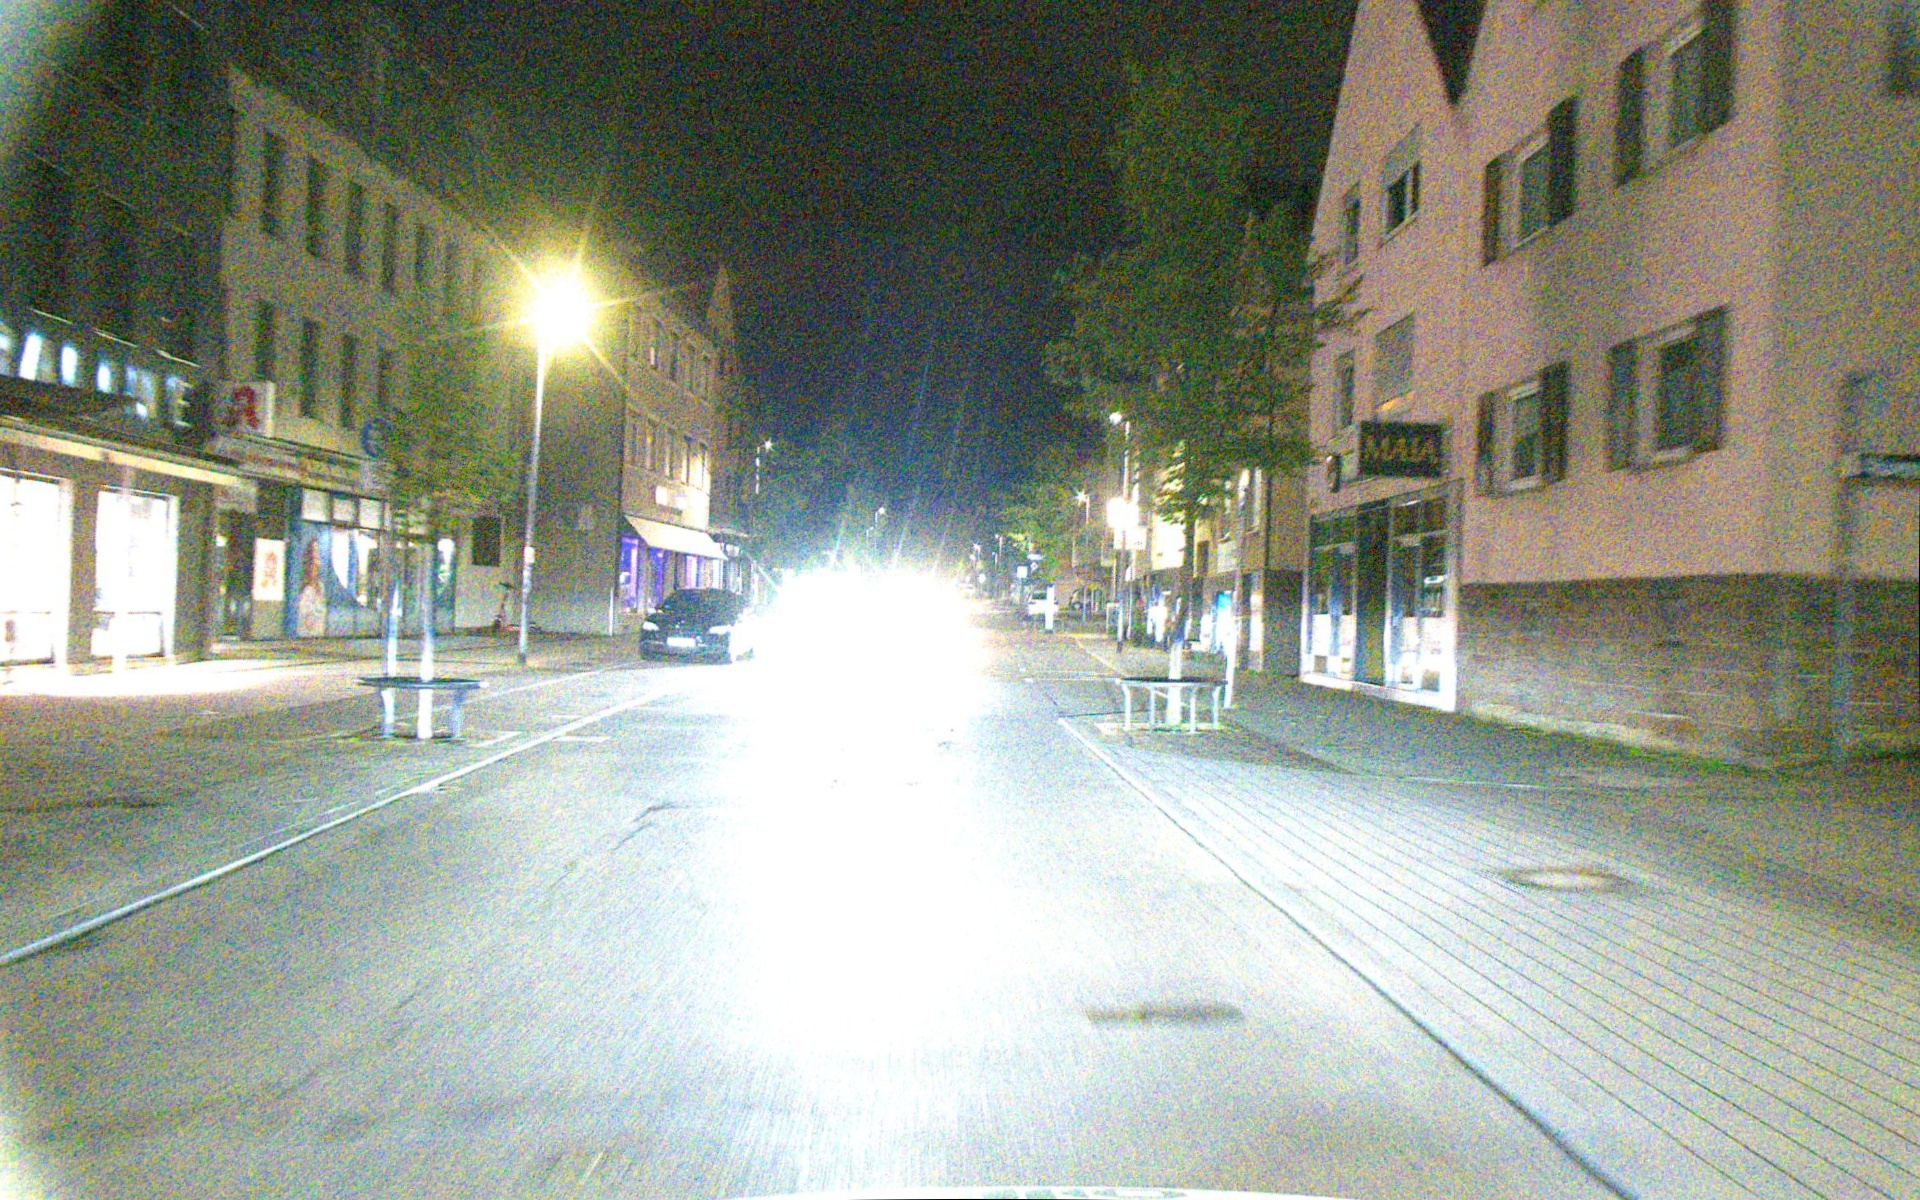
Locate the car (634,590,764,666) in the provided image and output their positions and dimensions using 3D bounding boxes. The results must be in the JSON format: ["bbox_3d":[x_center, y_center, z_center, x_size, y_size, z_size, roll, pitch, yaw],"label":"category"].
[{"bbox_3d":[-5.279,0.524,33.995,1.875,1.394,4.457,1,0,1],"label":"car"}]

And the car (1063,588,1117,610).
[{"bbox_3d":[9.546,-0.086,121.132,3.903,1.441,2.001,1,-2,5],"label":"car"}]

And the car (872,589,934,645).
[{"bbox_3d":[-1.785,0.517,52.600,1.739,1.681,4.364,1,0,1],"label":"car"}]

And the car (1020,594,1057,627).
[{"bbox_3d":[4.135,0.517,87.799,1.739,1.681,4.364,1,0,0],"label":"car"}]

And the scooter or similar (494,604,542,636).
[{"bbox_3d":[-11.157,0.503,41.774,1.073,0.795,0.524,1,0,-4],"label":"scooter or similar"}]

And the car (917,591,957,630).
[{"bbox_3d":[-1.045,0.458,76.014,1.739,1.681,4.363,1,0,0],"label":"car"}]

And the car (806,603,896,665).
[{"bbox_3d":[-2.395,0.726,37.149,1.688,1.268,4.237,1,0,0],"label":"car"}]
